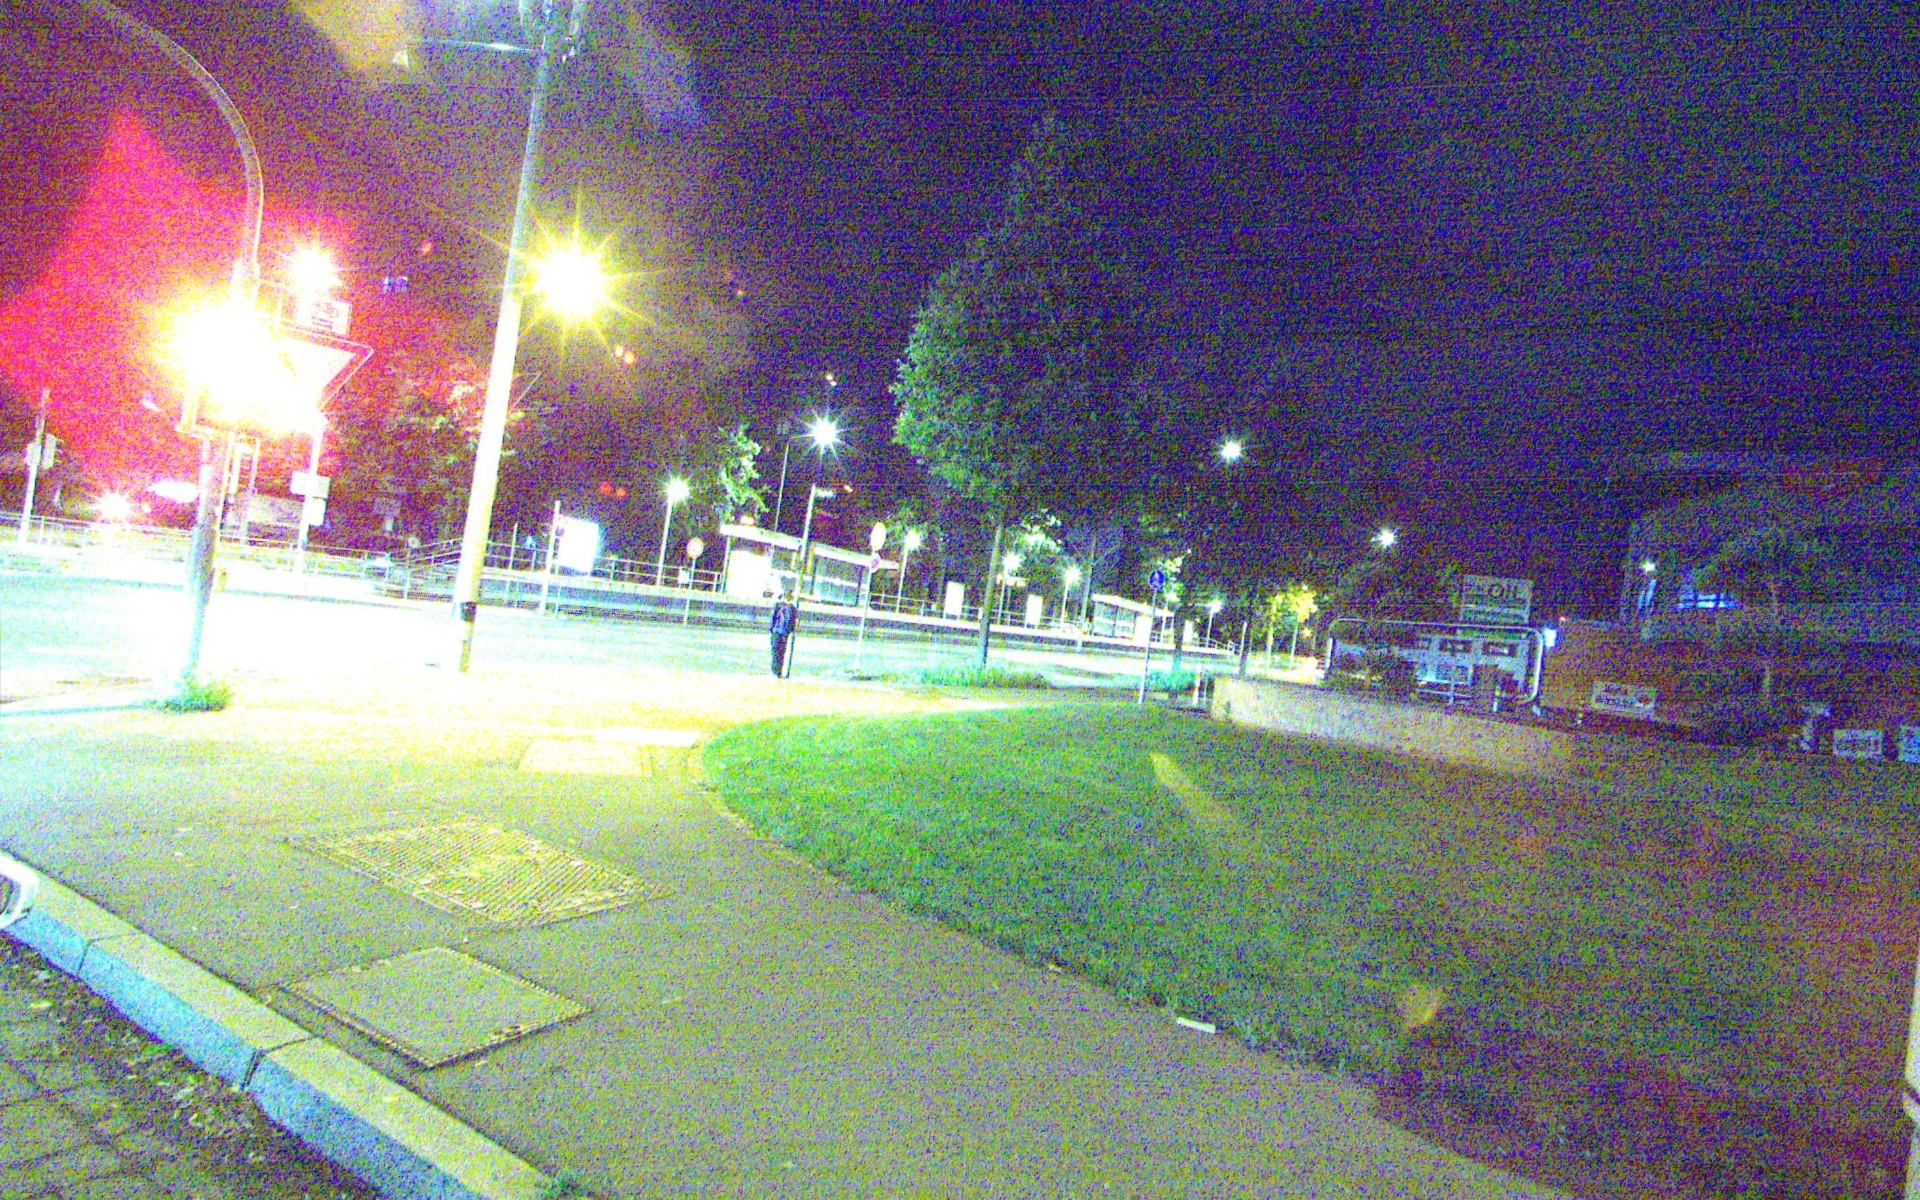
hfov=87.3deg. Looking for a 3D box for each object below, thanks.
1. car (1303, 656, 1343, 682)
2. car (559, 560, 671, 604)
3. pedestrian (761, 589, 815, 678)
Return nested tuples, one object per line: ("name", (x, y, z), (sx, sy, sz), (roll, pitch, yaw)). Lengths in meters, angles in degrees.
("car", (25.511, 4.854, 70.640), (1.631, 1.492, 3.880), (10, 1, 32))
("car", (-15.235, -0.769, 44.631), (1.822, 1.437, 4.429), (6, -1, 35))
("pedestrian", (-3.361, 0.645, 19.606), (0.867, 1.677, 0.835), (2, 1, -18))
